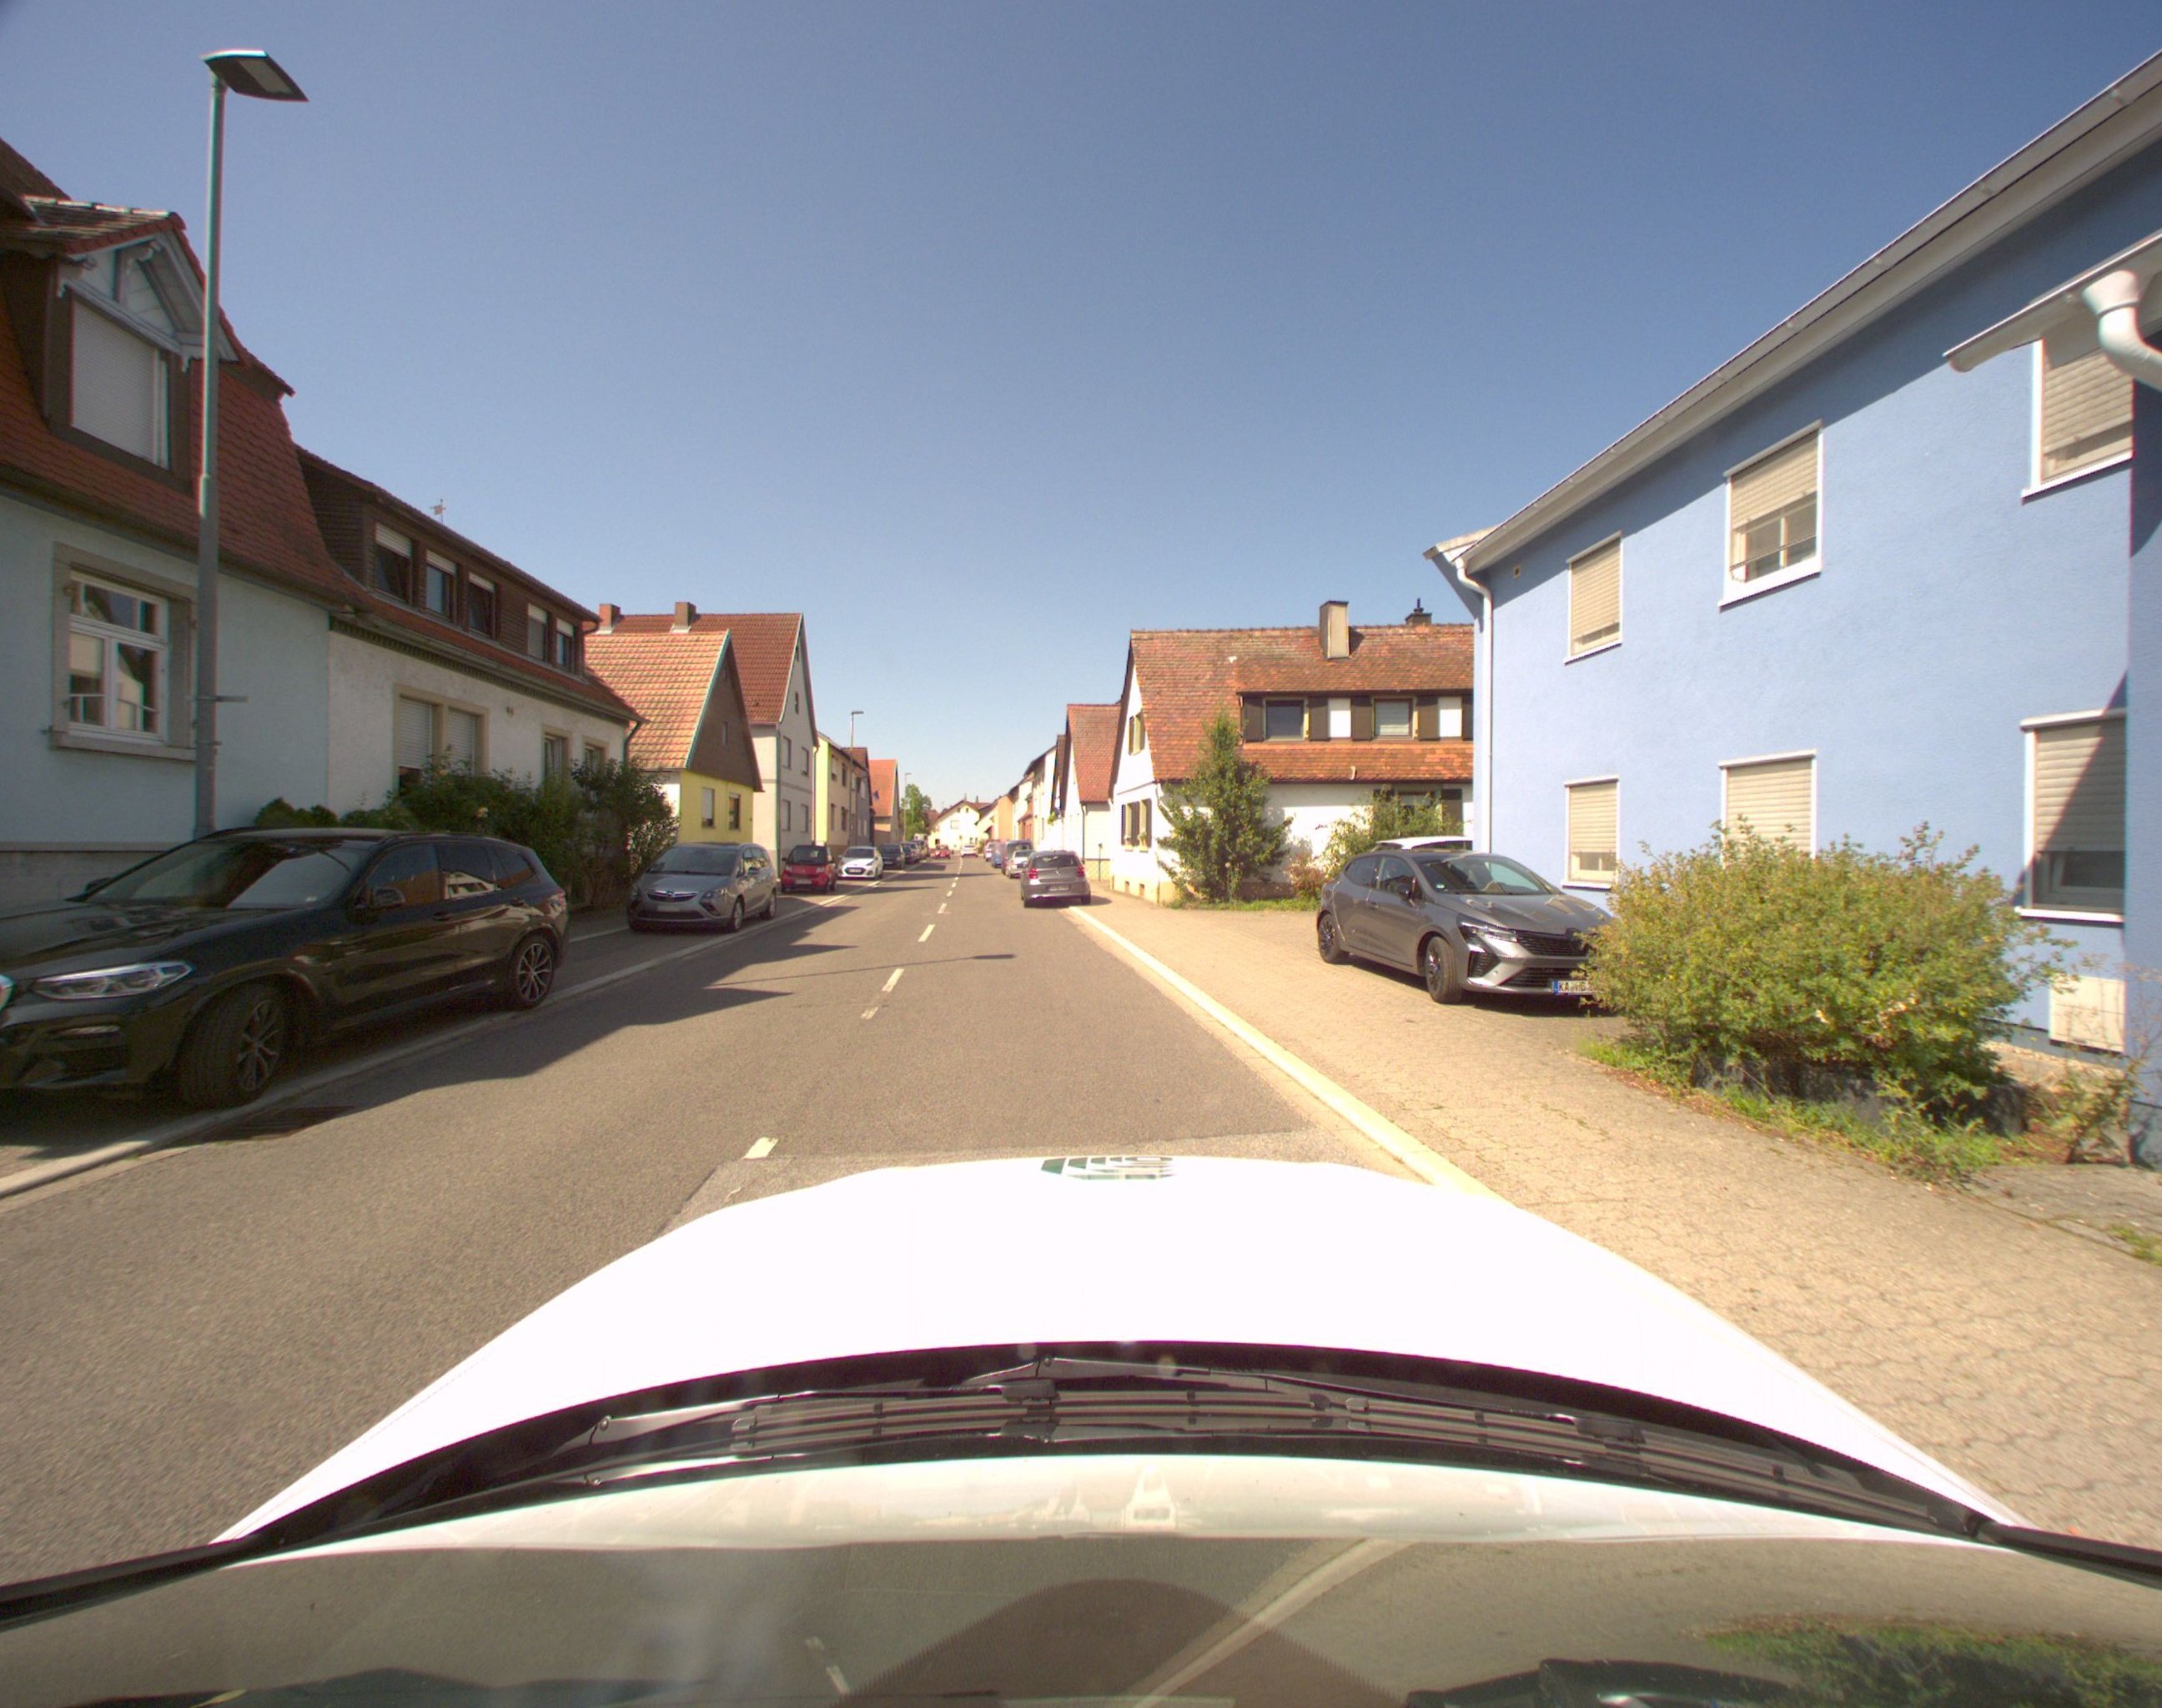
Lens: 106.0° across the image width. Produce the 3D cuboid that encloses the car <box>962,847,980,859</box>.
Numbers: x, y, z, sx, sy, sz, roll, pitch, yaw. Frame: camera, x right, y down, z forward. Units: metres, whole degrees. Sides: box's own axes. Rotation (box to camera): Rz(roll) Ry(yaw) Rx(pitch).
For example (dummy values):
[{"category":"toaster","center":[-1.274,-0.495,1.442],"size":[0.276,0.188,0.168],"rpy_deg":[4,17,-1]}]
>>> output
[{"category":"car","center":[-12.579,-0.119,93.048],"size":[1.992,1.288,3.989],"rpy_deg":[0,0,-8]}]

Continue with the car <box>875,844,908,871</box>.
[{"category":"car","center":[-11.690,0.215,50.470],"size":[1.618,1.577,3.950],"rpy_deg":[1,0,-8]}]

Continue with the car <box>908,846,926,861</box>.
[{"category":"car","center":[-15.933,-0.074,79.184],"size":[1.526,1.356,3.615],"rpy_deg":[1,0,-8]}]

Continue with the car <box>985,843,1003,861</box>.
[{"category":"car","center":[-7.620,-0.172,71.561],"size":[1.420,1.515,3.294],"rpy_deg":[1,0,-8]}]

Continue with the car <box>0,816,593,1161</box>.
[{"category":"car","center":[-5.969,0.635,6.221],"size":[1.917,1.668,4.657],"rpy_deg":[2,0,-5]}]

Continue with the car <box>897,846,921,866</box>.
[{"category":"car","center":[-13.169,0.170,62.598],"size":[1.503,1.453,3.499],"rpy_deg":[0,0,-7]}]

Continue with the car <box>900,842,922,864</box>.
[{"category":"car","center":[-13.855,-0.104,66.572],"size":[1.526,1.713,3.615],"rpy_deg":[1,0,-8]}]

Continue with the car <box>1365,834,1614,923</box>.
[{"category":"car","center":[8.110,0.461,16.421],"size":[4.163,1.657,1.811],"rpy_deg":[0,0,-2]}]

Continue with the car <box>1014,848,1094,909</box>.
[{"category":"car","center":[-0.807,0.587,21.813],"size":[1.704,1.433,3.878],"rpy_deg":[-1,0,-8]}]

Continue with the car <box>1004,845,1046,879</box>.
[{"category":"car","center":[-2.688,0.369,38.372],"size":[1.704,1.496,3.442],"rpy_deg":[1,0,-9]}]

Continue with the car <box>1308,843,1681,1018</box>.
[{"category":"car","center":[3.979,0.634,8.729],"size":[1.686,1.420,4.139],"rpy_deg":[1,0,-4]}]

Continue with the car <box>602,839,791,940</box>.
[{"category":"car","center":[-7.148,0.581,15.730],"size":[1.871,1.636,4.653],"rpy_deg":[1,0,-7]}]

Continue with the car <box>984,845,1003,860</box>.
[{"category":"car","center":[-8.570,-0.151,79.536],"size":[1.765,1.433,3.441],"rpy_deg":[0,0,-7]}]

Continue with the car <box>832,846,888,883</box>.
[{"category":"car","center":[-10.004,0.433,37.236],"size":[1.804,1.548,4.393],"rpy_deg":[1,0,-7]}]

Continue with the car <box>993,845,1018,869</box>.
[{"category":"car","center":[-5.046,0.173,54.232],"size":[1.420,1.515,3.294],"rpy_deg":[1,0,-8]}]

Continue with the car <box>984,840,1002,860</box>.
[{"category":"car","center":[-9.169,-0.386,84.683],"size":[1.765,2.004,3.441],"rpy_deg":[0,0,-7]}]

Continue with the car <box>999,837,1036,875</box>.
[{"category":"car","center":[-3.415,0.107,43.263],"size":[1.648,1.910,3.615],"rpy_deg":[1,0,-8]}]

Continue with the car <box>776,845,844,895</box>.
[{"category":"car","center":[-8.962,0.514,27.121],"size":[1.551,1.544,2.980],"rpy_deg":[1,0,-7]}]

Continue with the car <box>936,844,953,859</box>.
[{"category":"car","center":[-13.979,-0.250,83.232],"size":[1.600,1.489,3.615],"rpy_deg":[1,0,-8]}]
